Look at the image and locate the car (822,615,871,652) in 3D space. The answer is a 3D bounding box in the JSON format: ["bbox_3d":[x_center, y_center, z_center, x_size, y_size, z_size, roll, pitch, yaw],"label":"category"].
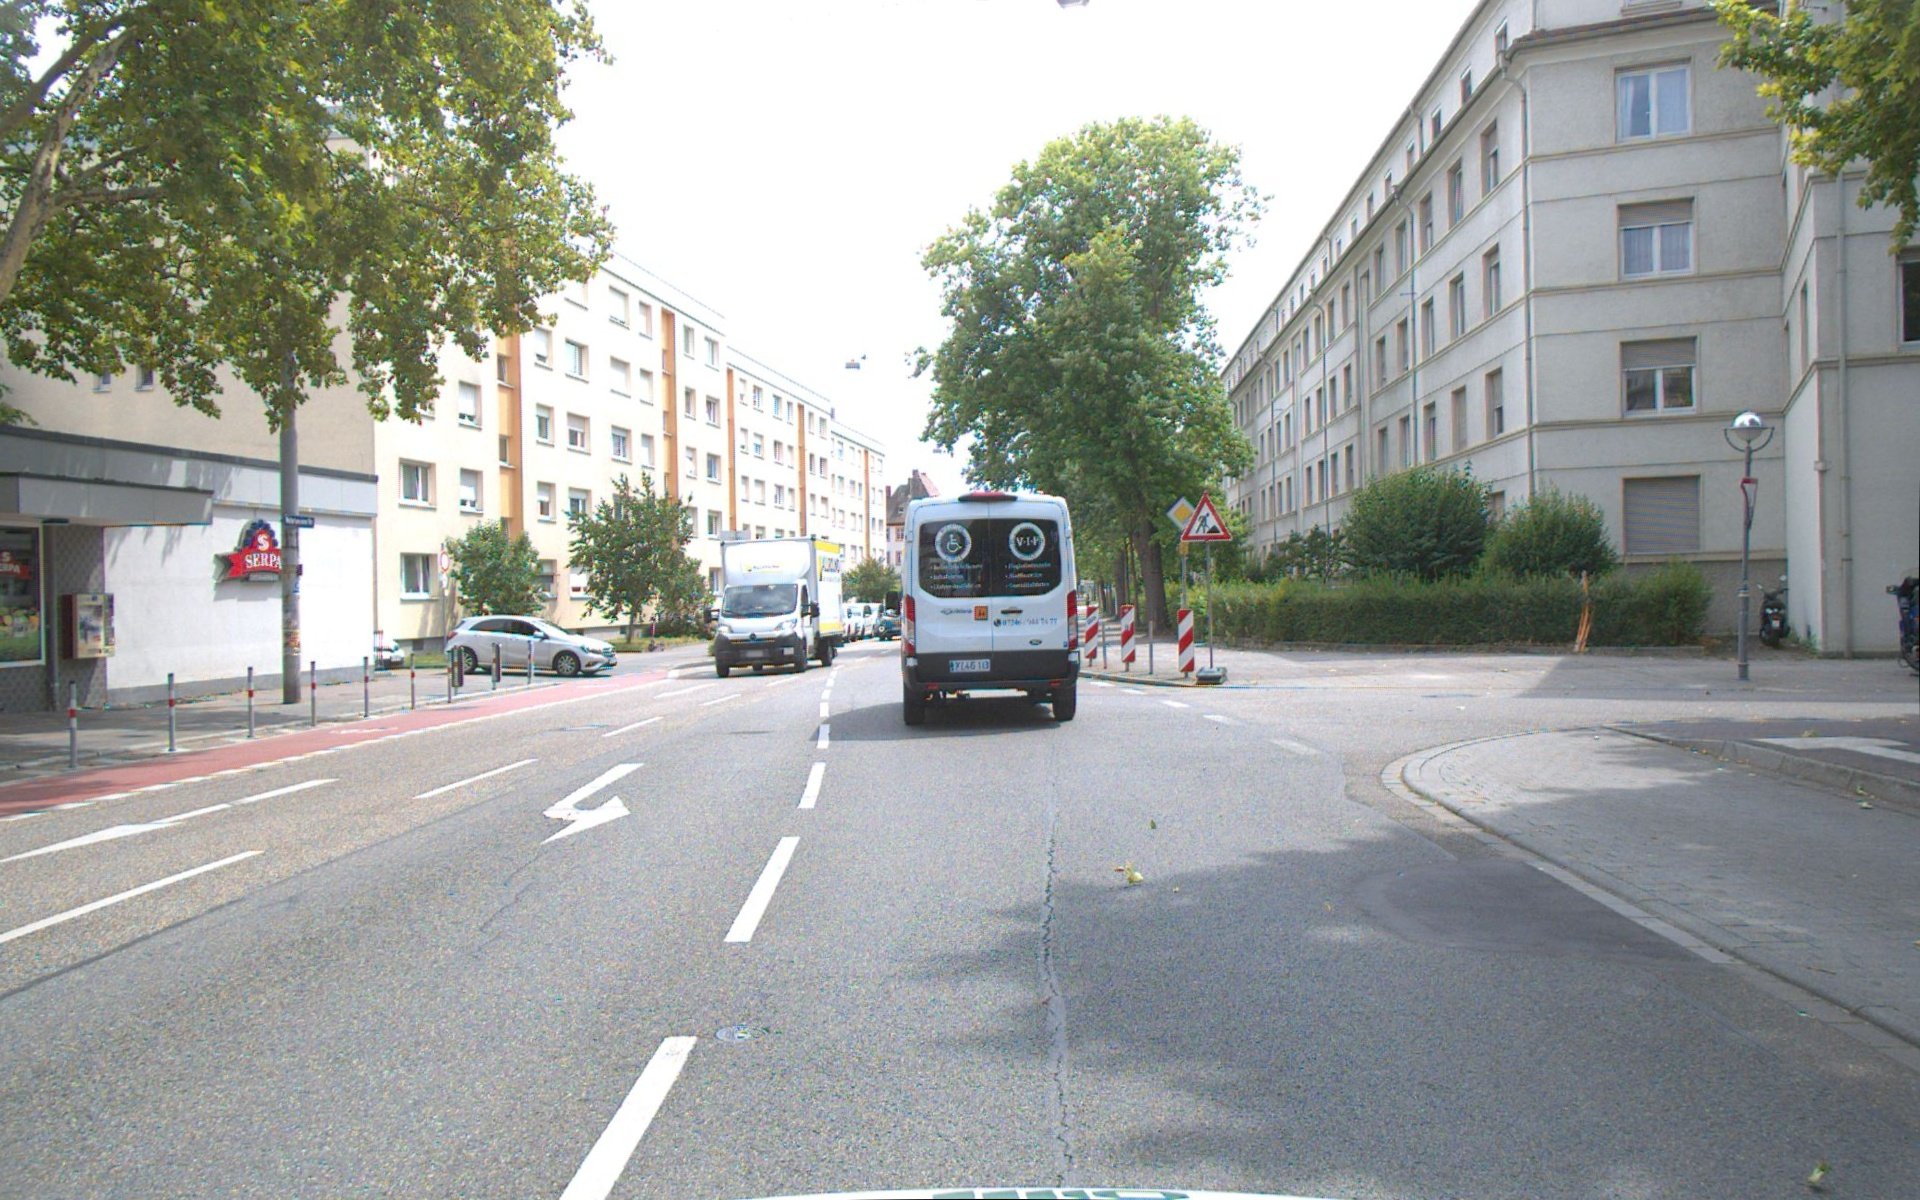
[{"bbox_3d":[-4.867,1.412,71.493,1.673,1.498,3.990,0,0,2],"label":"car"}]

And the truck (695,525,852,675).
[{"bbox_3d":[-4.342,-0.009,39.923,2.488,3.161,7.023,-3,0,3],"label":"truck"}]

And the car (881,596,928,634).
[{"bbox_3d":[-2.423,0.645,72.577,1.662,1.544,4.002,-2,0,3],"label":"car"}]

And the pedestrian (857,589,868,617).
[{"bbox_3d":[-6.525,0.219,110.916,0.606,1.845,0.899,0,0,2],"label":"pedestrian"}]

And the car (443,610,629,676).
[{"bbox_3d":[-10.598,1.063,41.499,4.083,1.476,1.850,2,0,6],"label":"car"}]

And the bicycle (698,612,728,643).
[{"bbox_3d":[-10.857,1.184,72.646,0.566,1.273,1.935,-1,1,14],"label":"bicycle"}]

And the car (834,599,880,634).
[{"bbox_3d":[-4.842,0.761,78.483,1.662,1.641,4.479,0,0,3],"label":"car"}]

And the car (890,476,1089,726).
[{"bbox_3d":[0.398,0.007,19.944,2.027,2.584,4.636,-2,0,2],"label":"car"}]

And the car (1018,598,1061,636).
[{"bbox_3d":[3.210,0.664,66.925,1.662,1.475,4.102,-1,0,2],"label":"car"}]

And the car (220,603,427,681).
[{"bbox_3d":[-16.029,1.052,41.735,4.532,1.715,1.851,-3,0,10],"label":"car"}]

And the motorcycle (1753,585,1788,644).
[{"bbox_3d":[15.099,0.266,30.838,0.423,1.033,1.449,-1,1,20],"label":"motorcycle"}]

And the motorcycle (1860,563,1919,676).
[{"bbox_3d":[13.552,0.241,23.328,0.814,1.487,2.308,-1,1,11],"label":"motorcycle"}]
